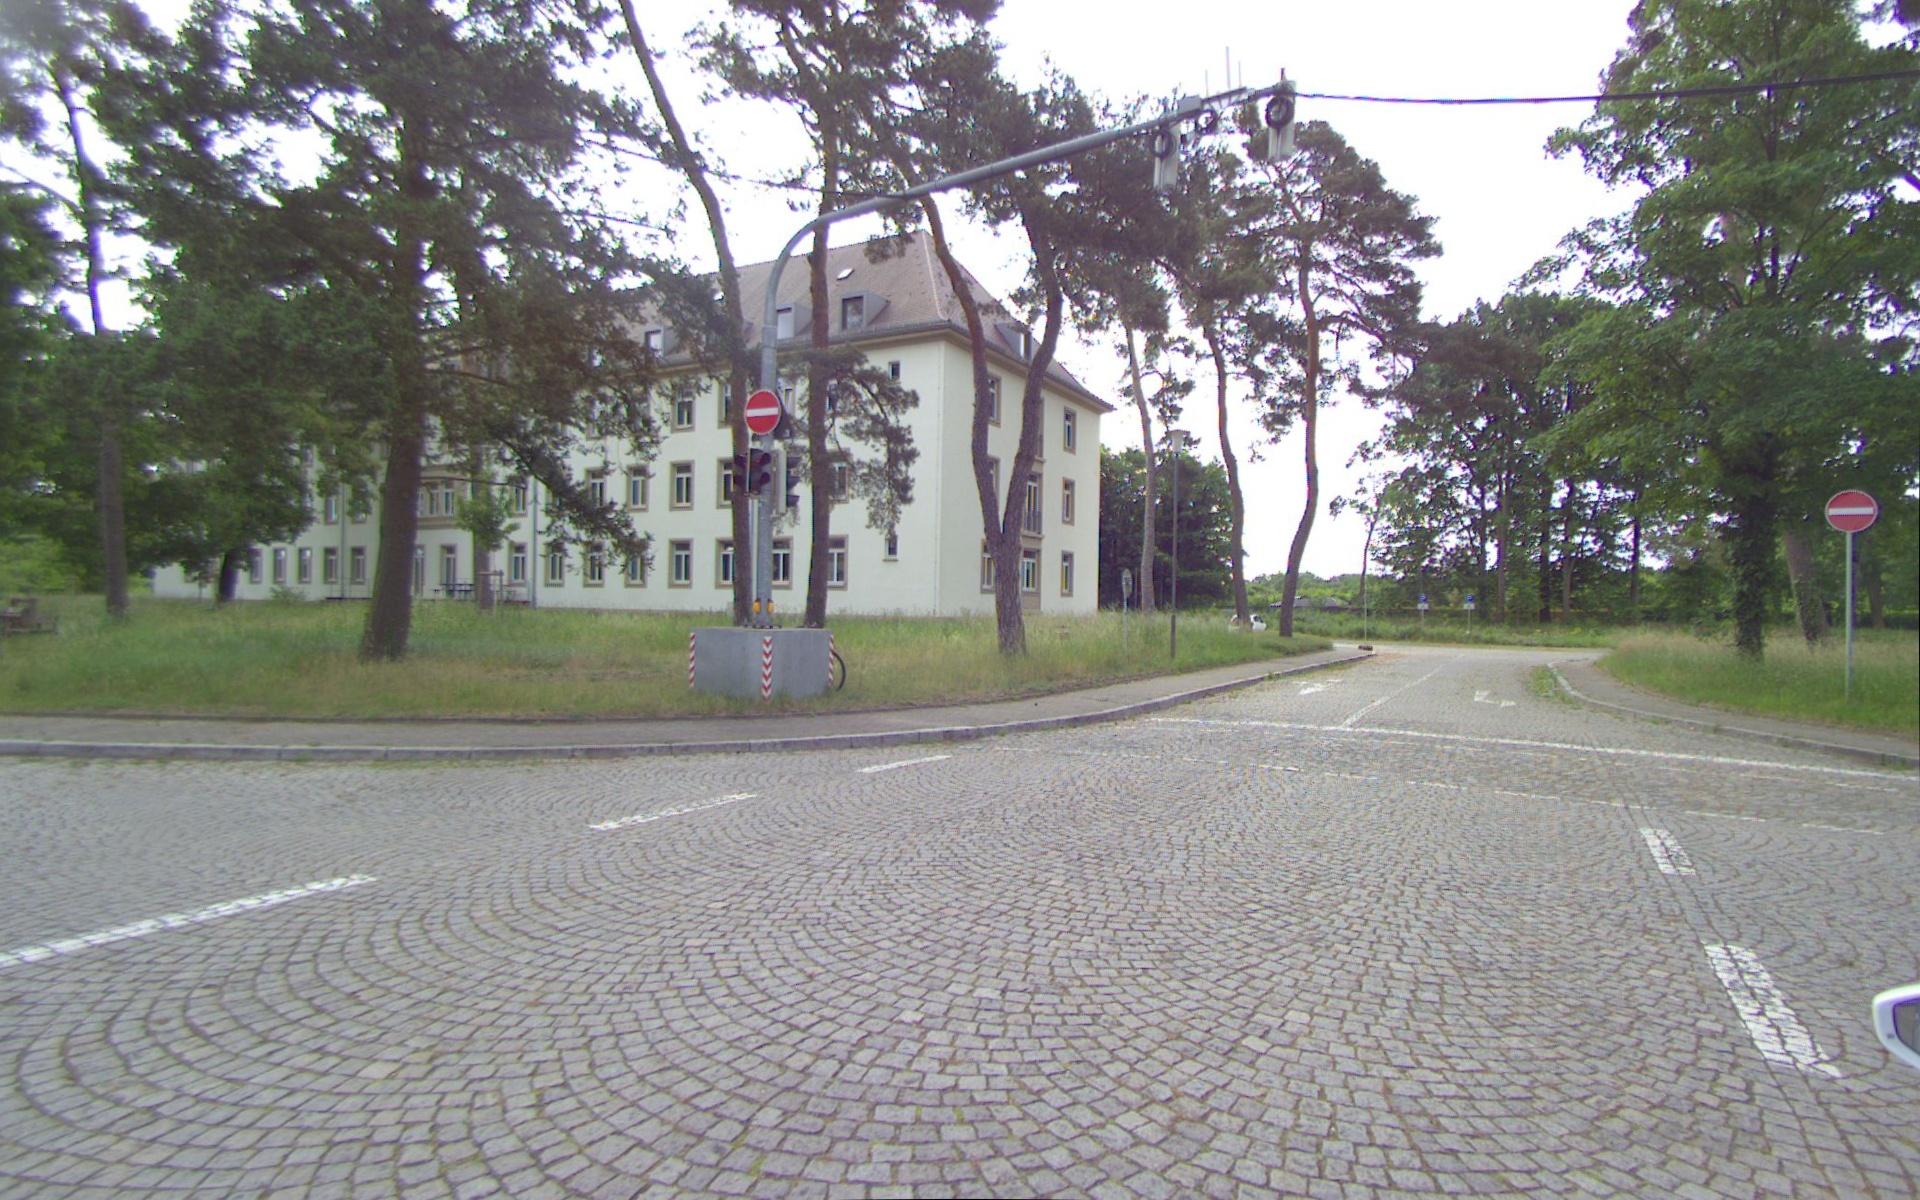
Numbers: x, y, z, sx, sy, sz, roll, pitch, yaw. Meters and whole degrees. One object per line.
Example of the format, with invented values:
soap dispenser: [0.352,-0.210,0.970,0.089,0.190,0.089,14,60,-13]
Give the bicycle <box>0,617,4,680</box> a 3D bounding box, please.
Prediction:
bicycle: [-17.078,0.808,16.465,0.552,1.079,1.949,1,0,28]

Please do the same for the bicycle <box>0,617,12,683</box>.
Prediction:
bicycle: [-16.569,0.822,16.074,0.552,1.079,1.949,1,0,28]

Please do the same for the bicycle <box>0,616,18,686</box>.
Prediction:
bicycle: [-16.158,0.810,15.745,0.552,1.125,1.949,1,0,28]

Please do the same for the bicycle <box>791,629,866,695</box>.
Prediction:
bicycle: [-1.924,0.904,14.707,1.032,0.928,0.293,1,0,8]

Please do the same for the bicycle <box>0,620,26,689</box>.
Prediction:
bicycle: [-15.713,0.847,15.424,0.605,1.079,1.897,1,0,28]

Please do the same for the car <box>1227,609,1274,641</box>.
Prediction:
car: [17.753,1.494,61.269,1.692,1.831,3.990,1,0,32]
